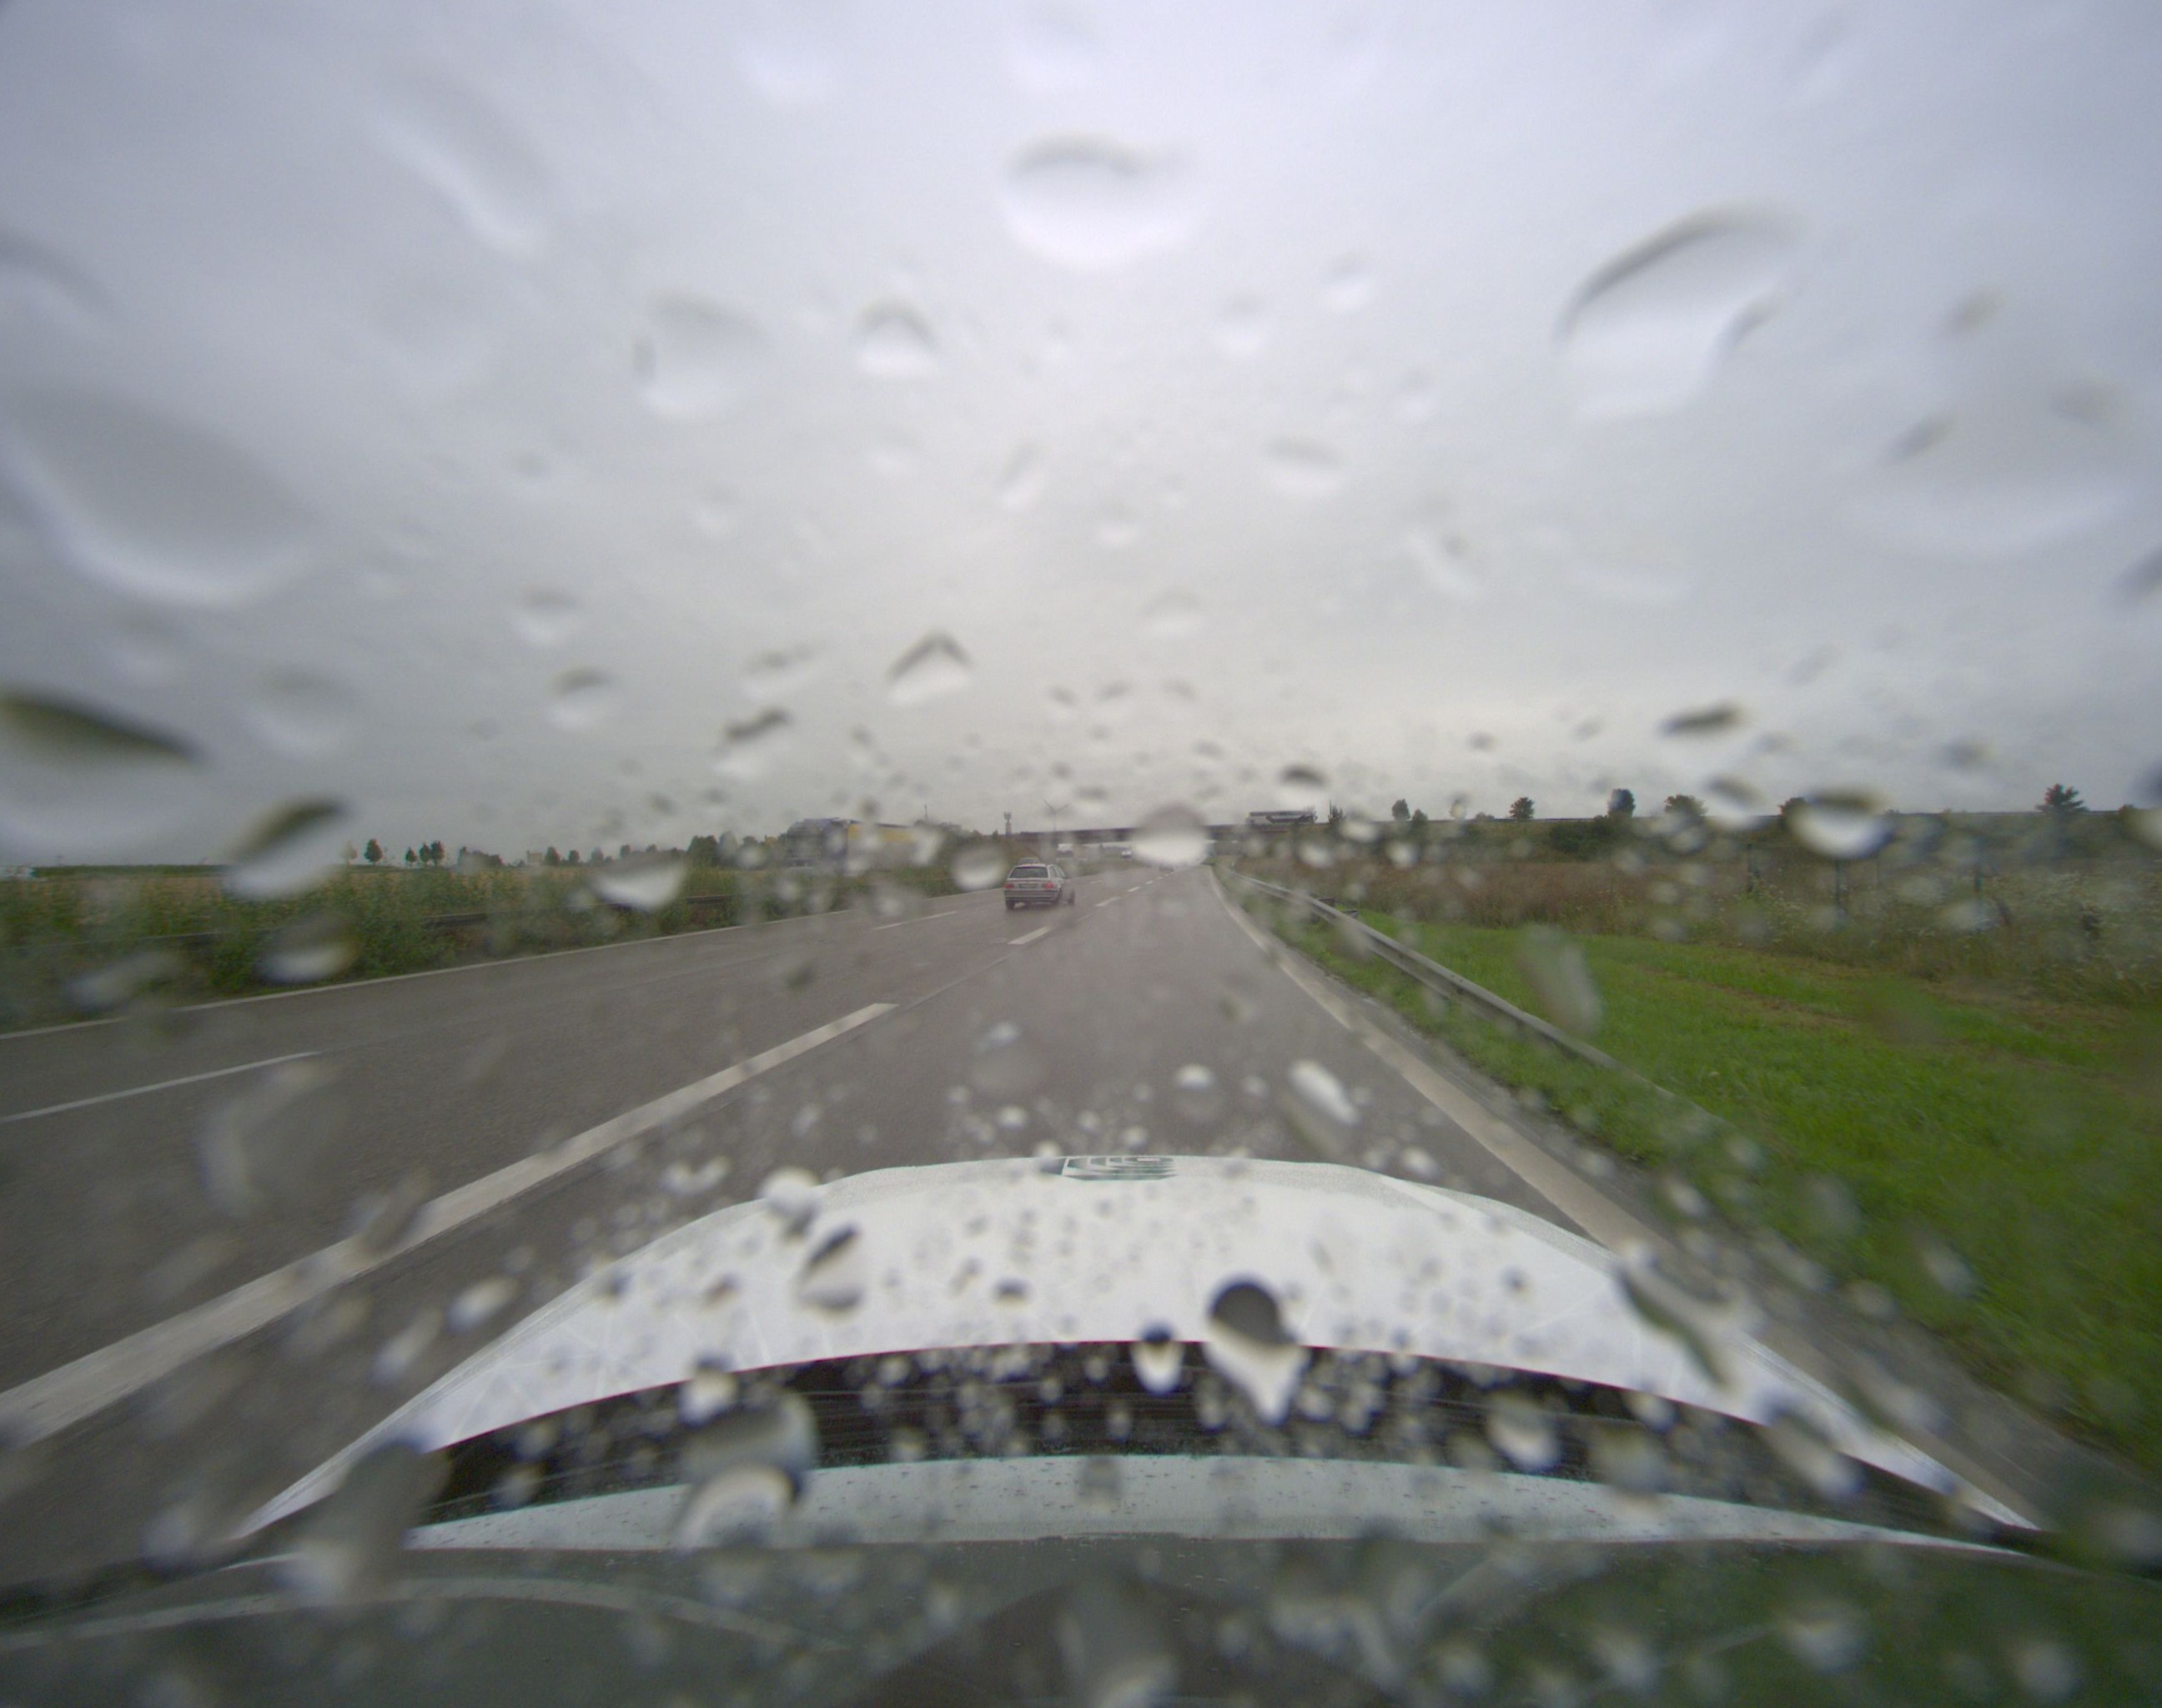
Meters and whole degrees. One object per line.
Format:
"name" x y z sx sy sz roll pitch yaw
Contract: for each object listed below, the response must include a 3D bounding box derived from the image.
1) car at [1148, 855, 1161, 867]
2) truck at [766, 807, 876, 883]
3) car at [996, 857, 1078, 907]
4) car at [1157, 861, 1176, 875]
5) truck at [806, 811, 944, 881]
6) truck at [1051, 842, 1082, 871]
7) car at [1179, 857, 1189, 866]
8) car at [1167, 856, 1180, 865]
"car" 12.916 1.202 143.623 1.982 1.749 4.009 -3 1 8
"truck" -14.506 -0.464 46.093 3.176 3.966 6.678 1 0 8
"car" -1.342 0.867 27.068 1.864 1.488 4.805 -1 -1 7
"car" 10.667 1.723 101.236 2.133 1.636 4.605 0 -1 8
"truck" -13.231 -0.403 54.724 3.176 3.966 15.353 1 0 8
"truck" -2.211 0.445 128.624 3.210 4.385 10.537 -2 -1 8
"car" 22.883 1.708 180.201 1.982 1.697 4.010 -3 1 8
"car" 15.804 1.120 139.179 2.041 1.636 4.359 0 -1 8
